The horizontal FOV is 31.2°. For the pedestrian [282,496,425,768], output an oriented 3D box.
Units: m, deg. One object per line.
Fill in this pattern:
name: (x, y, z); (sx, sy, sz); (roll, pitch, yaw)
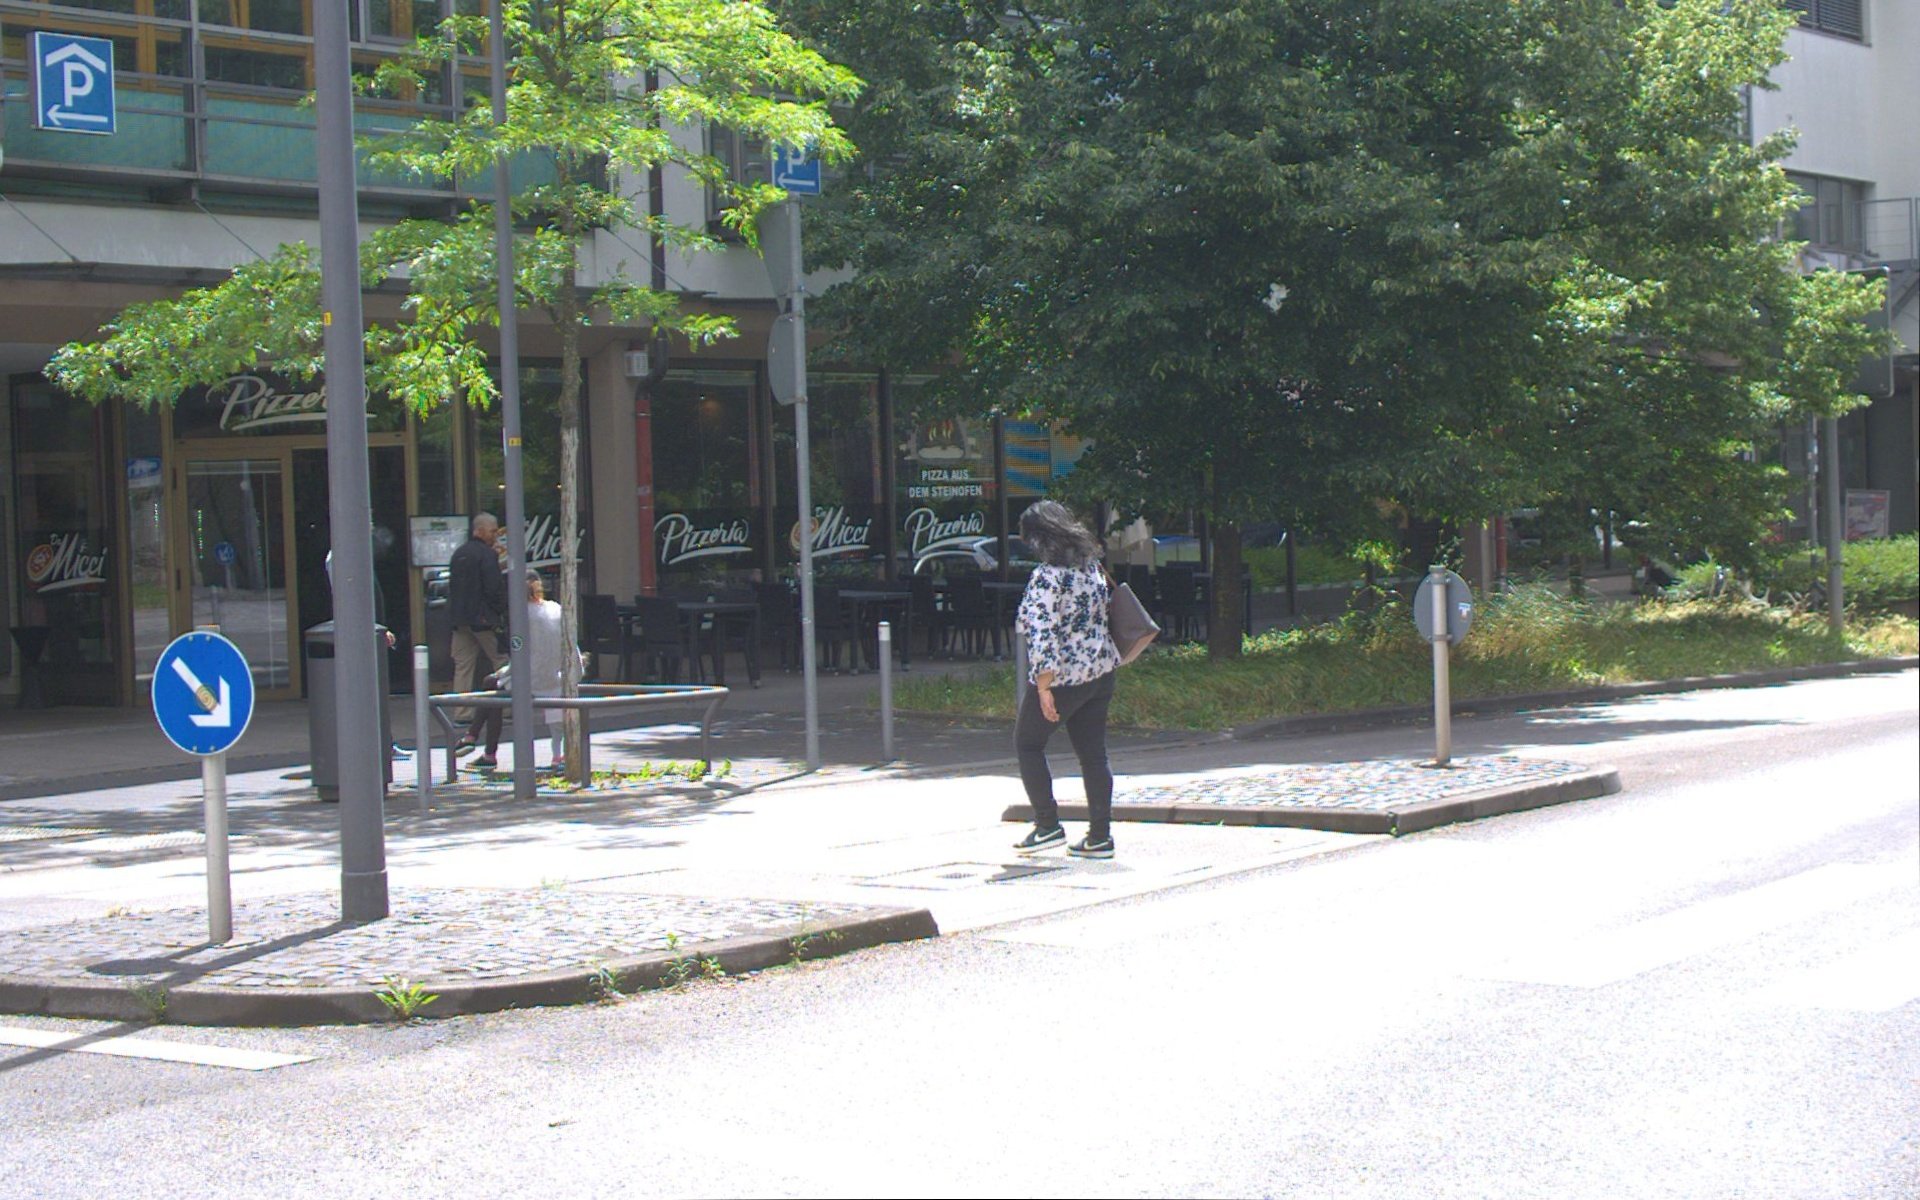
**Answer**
pedestrian: (-4.141, 0.206, 23.476); (0.697, 1.812, 0.616); (0, 2, 39)

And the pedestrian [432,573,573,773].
pedestrian: (-3.027, 0.471, 22.747); (0.616, 1.280, 0.697); (-1, 1, -44)

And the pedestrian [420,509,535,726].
pedestrian: (-3.757, 0.126, 26.804); (0.616, 1.669, 0.697); (0, 1, 21)

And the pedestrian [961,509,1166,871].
pedestrian: (0.450, 0.378, 15.220); (0.763, 1.548, 0.779); (-1, 1, -9)
